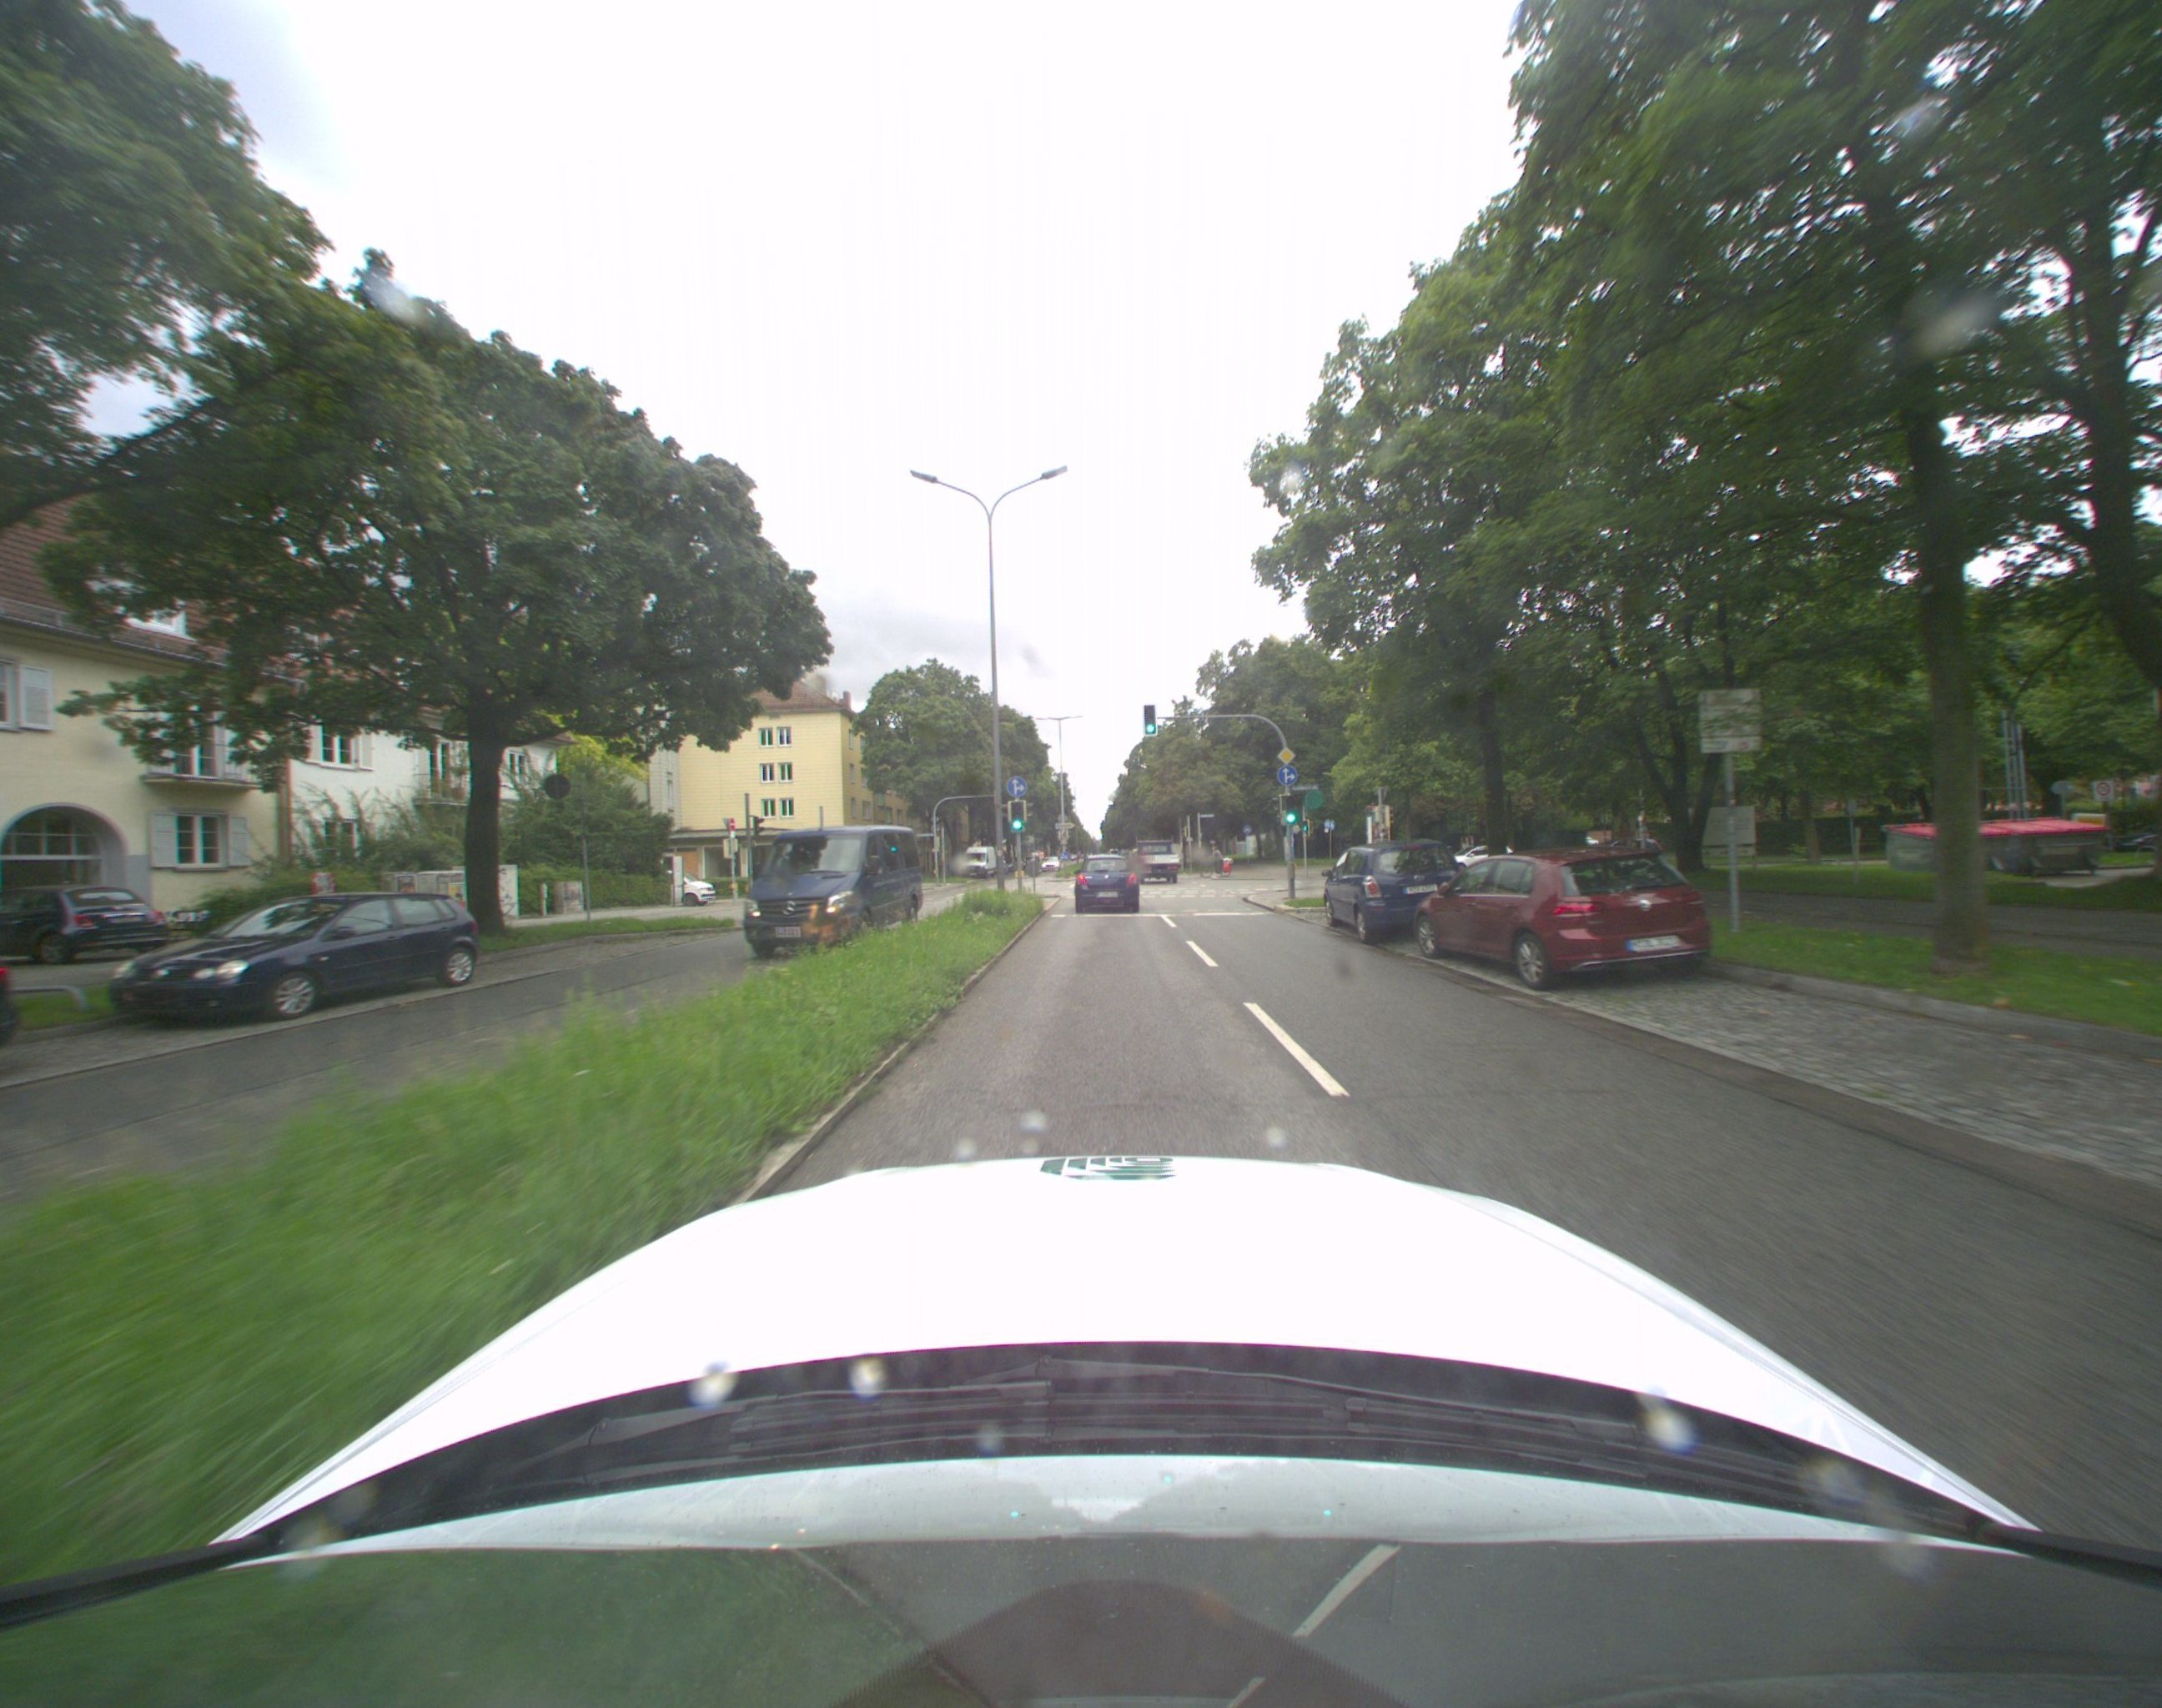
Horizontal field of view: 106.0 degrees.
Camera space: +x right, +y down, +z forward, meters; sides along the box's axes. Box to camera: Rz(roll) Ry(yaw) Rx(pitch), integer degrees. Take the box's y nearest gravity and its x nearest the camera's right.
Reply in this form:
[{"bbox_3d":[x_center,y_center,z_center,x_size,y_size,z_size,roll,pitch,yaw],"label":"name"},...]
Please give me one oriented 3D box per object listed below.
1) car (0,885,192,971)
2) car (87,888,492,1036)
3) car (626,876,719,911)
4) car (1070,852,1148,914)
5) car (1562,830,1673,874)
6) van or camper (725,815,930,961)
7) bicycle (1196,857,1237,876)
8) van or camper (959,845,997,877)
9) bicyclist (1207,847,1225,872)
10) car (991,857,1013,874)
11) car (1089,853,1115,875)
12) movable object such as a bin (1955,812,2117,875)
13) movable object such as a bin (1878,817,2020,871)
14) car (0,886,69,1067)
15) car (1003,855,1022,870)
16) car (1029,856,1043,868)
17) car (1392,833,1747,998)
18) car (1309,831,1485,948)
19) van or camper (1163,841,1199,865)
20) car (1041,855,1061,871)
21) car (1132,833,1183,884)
[{"bbox_3d":[-20.243,1.450,15.981,3.622,1.462,1.671,-2,0,-1],"label":"car"},{"bbox_3d":[-10.216,1.281,10.988,1.557,1.450,3.841,1,0,3],"label":"car"},{"bbox_3d":[-20.992,2.022,41.944,3.859,1.562,1.669,-2,0,-5],"label":"car"},{"bbox_3d":[0.684,0.727,22.224,1.891,1.499,3.657,-1,0,-2],"label":"car"},{"bbox_3d":[25.611,-0.108,39.013,3.859,1.610,1.937,-6,0,8],"label":"car"},{"bbox_3d":[-4.676,0.545,16.233,2.016,2.260,6.022,-3,0,1],"label":"van or camper"},{"bbox_3d":[8.063,0.738,48.419,2.288,1.114,0.997,-1,0,2],"label":"bicycle"},{"bbox_3d":[-8.557,0.569,68.332,2.132,2.476,6.261,-3,0,2],"label":"van or camper"},{"bbox_3d":[8.042,0.306,48.420,0.927,1.479,0.991,-1,0,3],"label":"bicyclist"},{"bbox_3d":[-7.721,1.103,79.958,1.630,1.442,3.736,-3,0,2],"label":"car"},{"bbox_3d":[1.542,0.686,59.945,1.793,1.499,3.660,-2,0,1],"label":"car"},{"bbox_3d":[24.891,-0.273,21.307,2.053,1.486,1.838,-2,0,1],"label":"movable object such as a bin"},{"bbox_3d":[22.670,-0.248,21.338,2.052,1.263,1.532,-2,0,1],"label":"movable object such as a bin"},{"bbox_3d":[-10.286,1.115,5.432,1.661,1.562,4.297,-2,0,-1],"label":"car"},{"bbox_3d":[-7.435,0.926,88.729,1.630,1.442,3.736,-3,0,2],"label":"car"},{"bbox_3d":[-6.283,1.124,114.299,1.630,1.442,3.736,-3,0,2],"label":"car"},{"bbox_3d":[5.566,0.594,10.058,1.707,1.424,4.283,-6,0,0],"label":"car"},{"bbox_3d":[5.515,0.533,14.835,1.754,1.658,4.290,-6,0,6],"label":"car"},{"bbox_3d":[7.906,-0.069,64.778,2.120,1.794,4.504,-1,0,-2],"label":"van or camper"},{"bbox_3d":[-2.943,0.865,81.094,1.630,1.442,3.736,-3,0,2],"label":"car"},{"bbox_3d":[3.874,0.206,42.162,2.409,2.444,5.090,-1,0,3],"label":"car"}]
